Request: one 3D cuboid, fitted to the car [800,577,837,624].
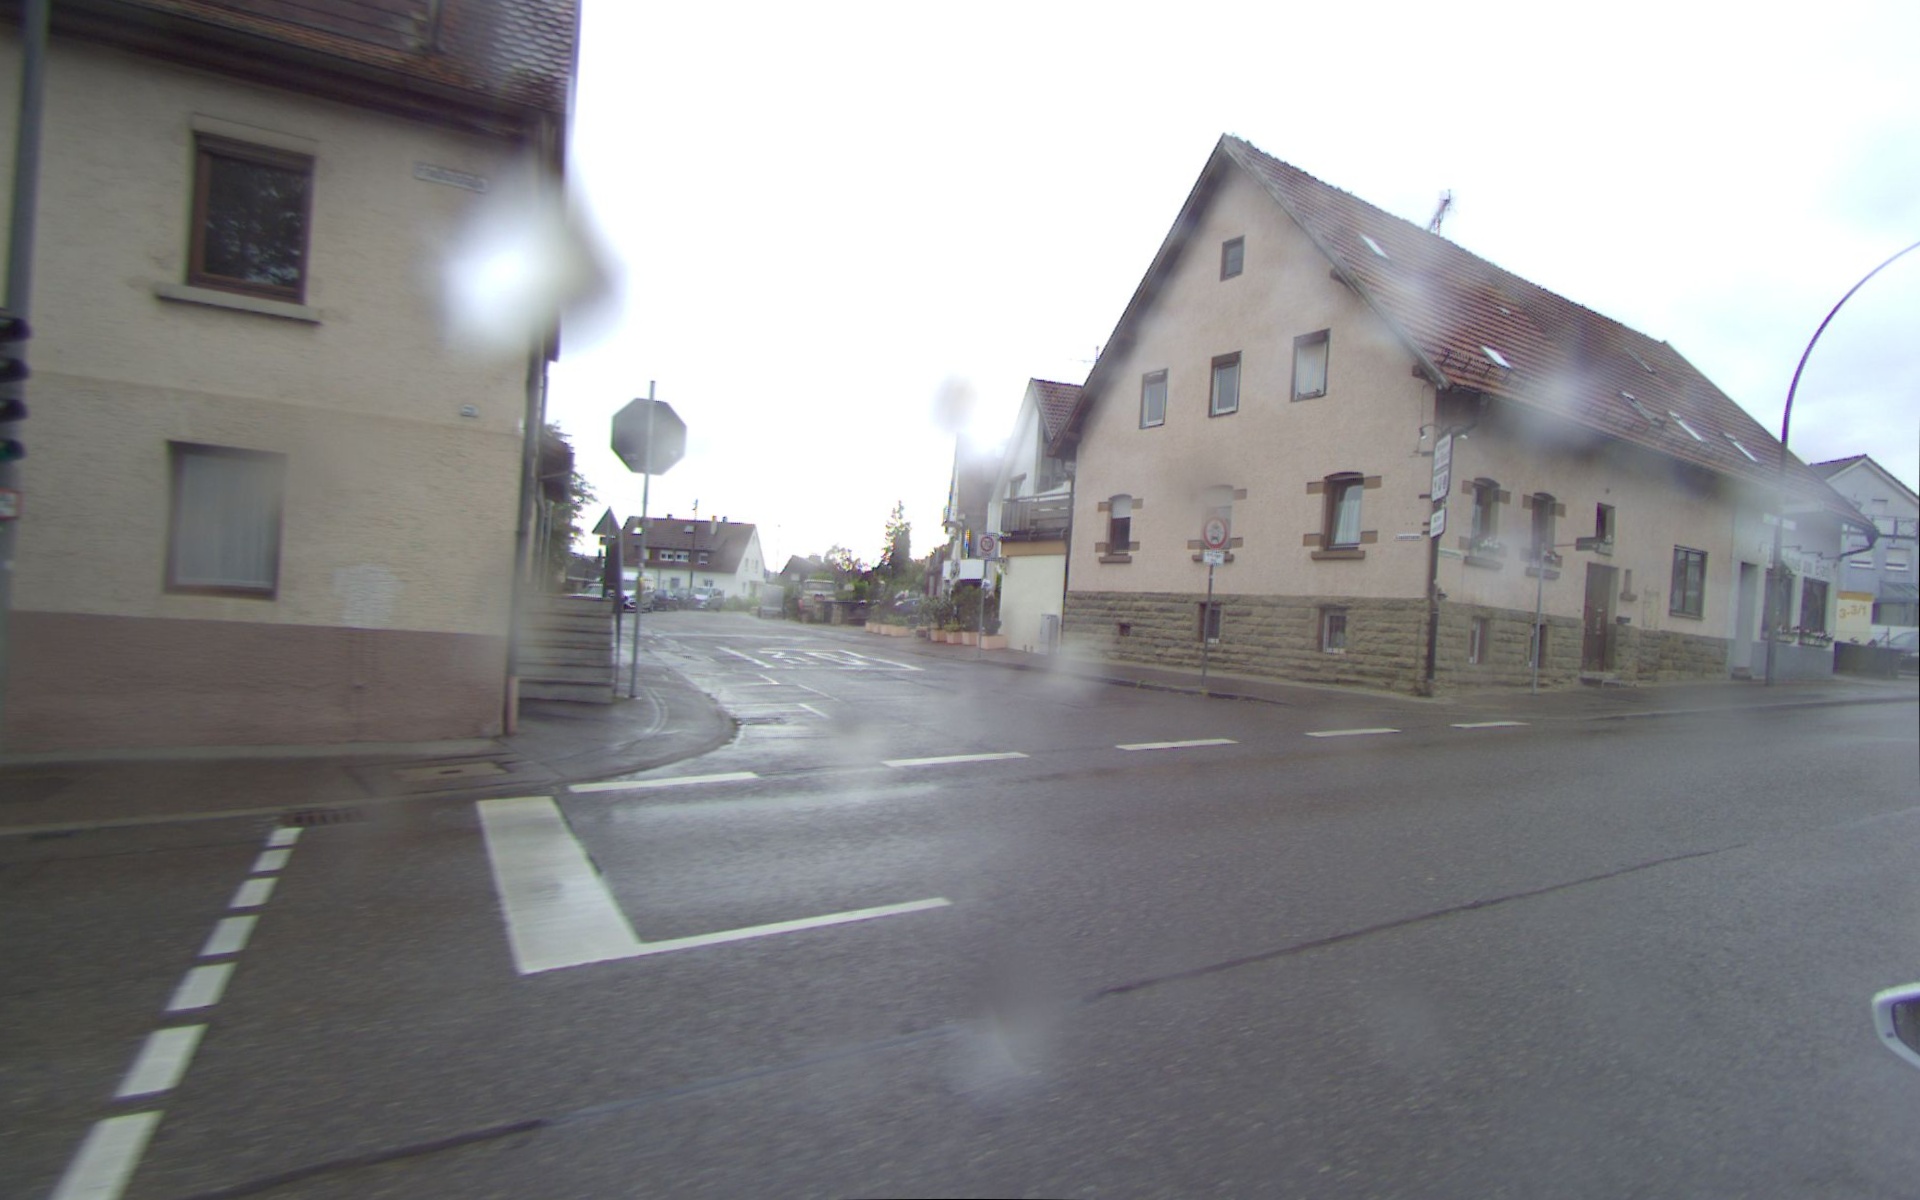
[{"bbox_3d":[-8.856,0.087,63.234,1.962,2.775,3.998,1,-2,-5],"label":"car"}]

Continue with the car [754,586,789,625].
[{"bbox_3d":[-12.267,0.384,65.191,1.966,2.407,3.989,2,-2,-14],"label":"car"}]

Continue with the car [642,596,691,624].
[{"bbox_3d":[-19.525,0.681,67.003,1.960,1.700,4.001,1,-2,1],"label":"car"}]

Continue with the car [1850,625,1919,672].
[{"bbox_3d":[33.619,1.705,35.154,3.764,1.461,1.901,2,1,-15],"label":"car"}]

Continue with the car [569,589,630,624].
[{"bbox_3d":[-19.520,0.404,54.602,1.961,1.773,4.000,1,-2,-2],"label":"car"}]

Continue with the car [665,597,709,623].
[{"bbox_3d":[-19.731,0.740,72.668,1.960,1.742,4.001,1,-2,1],"label":"car"}]

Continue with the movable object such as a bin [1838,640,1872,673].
[{"bbox_3d":[28.943,1.818,32.484,0.595,1.046,0.637,2,-2,-19],"label":"movable object such as a bin"}]

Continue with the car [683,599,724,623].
[{"bbox_3d":[-19.715,0.890,77.365,1.960,1.742,4.001,1,-2,1],"label":"car"}]

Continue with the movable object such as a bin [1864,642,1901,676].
[{"bbox_3d":[29.181,1.851,31.777,0.663,1.046,0.637,2,-2,-19],"label":"movable object such as a bin"}]

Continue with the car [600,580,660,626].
[{"bbox_3d":[-19.456,0.243,59.461,1.960,2.574,4.288,1,-2,1],"label":"car"}]
